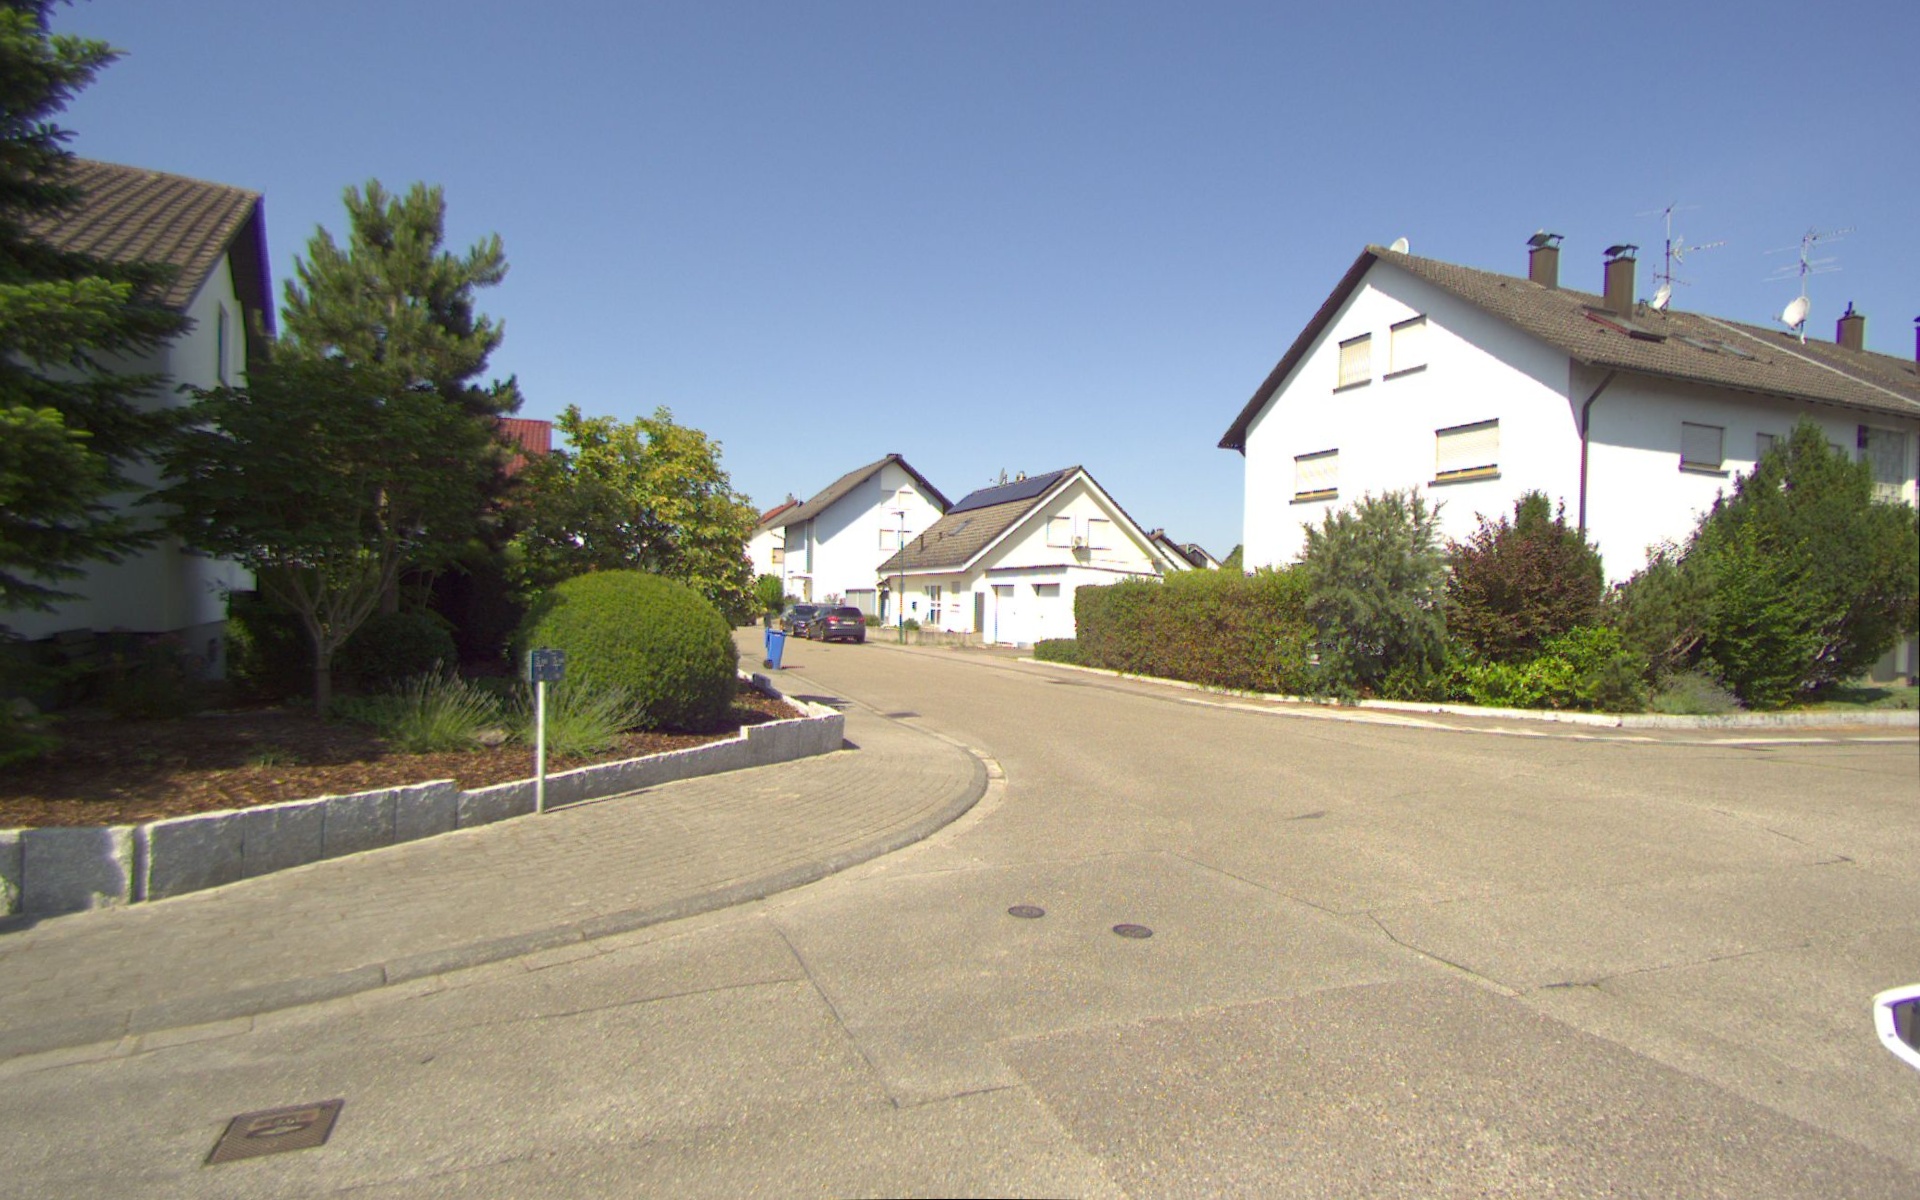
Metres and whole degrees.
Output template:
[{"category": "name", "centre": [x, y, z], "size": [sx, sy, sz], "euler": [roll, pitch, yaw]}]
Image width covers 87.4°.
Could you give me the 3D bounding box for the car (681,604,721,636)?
[{"category": "car", "centre": [-13.894, 1.064, 53.820], "size": [1.626, 1.602, 3.790], "euler": [1, 0, -21]}]

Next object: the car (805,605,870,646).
[{"category": "car", "centre": [-5.133, 1.028, 41.621], "size": [1.624, 1.498, 3.978], "euler": [3, 0, -22]}]

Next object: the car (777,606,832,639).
[{"category": "car", "centre": [-7.357, 1.020, 47.155], "size": [1.697, 1.457, 4.482], "euler": [1, -1, -20]}]

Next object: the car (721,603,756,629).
[{"category": "car", "centre": [-14.608, 1.041, 66.208], "size": [1.626, 1.602, 4.126], "euler": [1, 0, -21]}]

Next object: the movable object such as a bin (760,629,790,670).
[{"category": "movable object such as a bin", "centre": [-4.393, 1.172, 23.833], "size": [0.576, 0.928, 0.595], "euler": [2, -1, -21]}]

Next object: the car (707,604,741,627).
[{"category": "car", "centre": [-16.666, 1.066, 70.922], "size": [1.627, 1.566, 4.024], "euler": [1, 0, -23]}]
